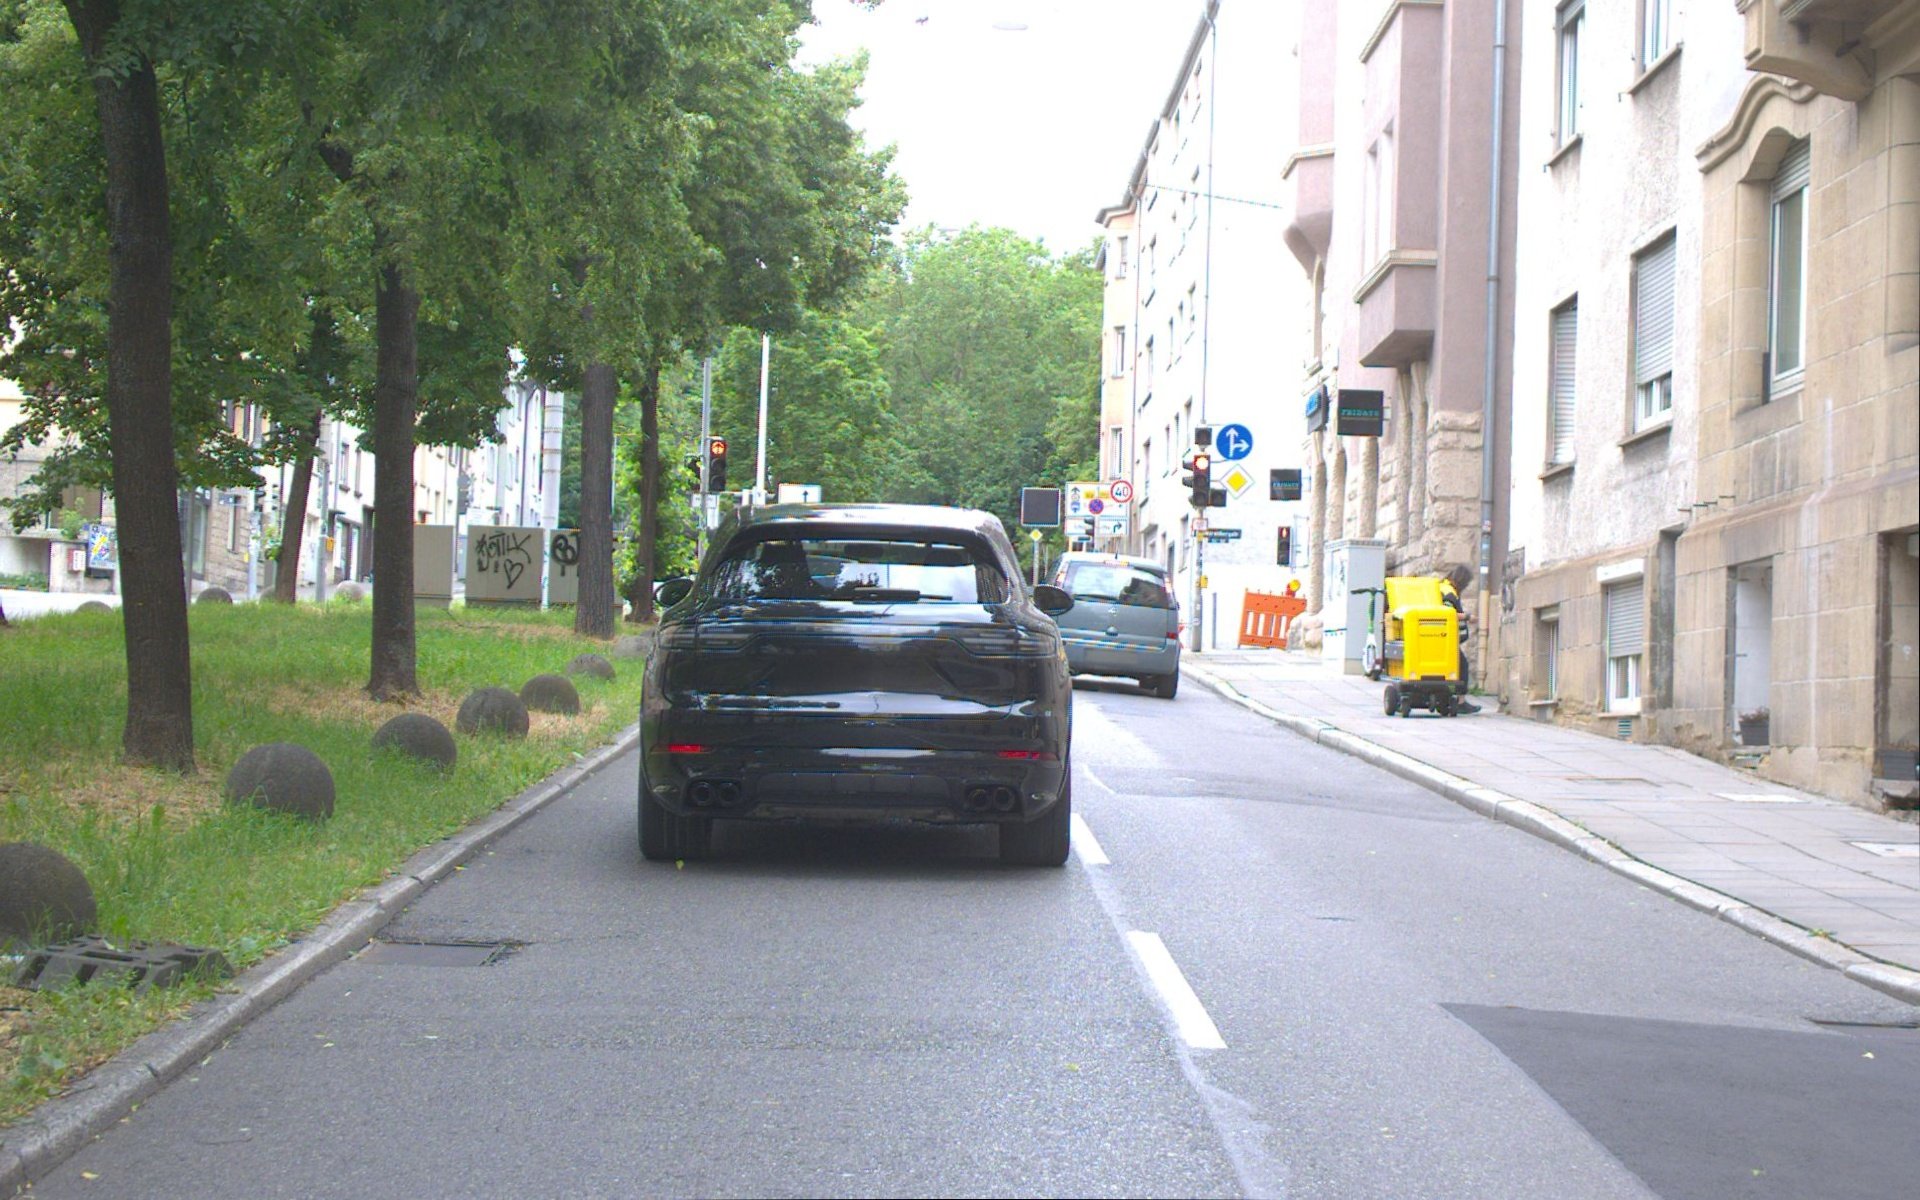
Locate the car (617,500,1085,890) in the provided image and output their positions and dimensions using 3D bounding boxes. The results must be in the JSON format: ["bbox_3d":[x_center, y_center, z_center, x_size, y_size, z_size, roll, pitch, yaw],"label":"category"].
[{"bbox_3d":[-0.473,0.372,16.843,1.994,1.647,4.000,1,1,0],"label":"car"}]

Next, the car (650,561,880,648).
[{"bbox_3d":[-3.806,0.071,67.550,4.206,1.505,1.800,3,1,7],"label":"car"}]

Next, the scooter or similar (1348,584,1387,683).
[{"bbox_3d":[5.177,0.417,43.701,0.401,1.184,1.354,1,2,3],"label":"scooter or similar"}]

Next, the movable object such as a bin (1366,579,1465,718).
[{"bbox_3d":[4.784,0.507,36.188,0.719,1.416,1.693,1,0,-3],"label":"movable object such as a bin"}]

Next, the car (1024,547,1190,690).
[{"bbox_3d":[1.702,0.192,40.801,1.752,1.588,3.630,1,1,-1],"label":"car"}]
